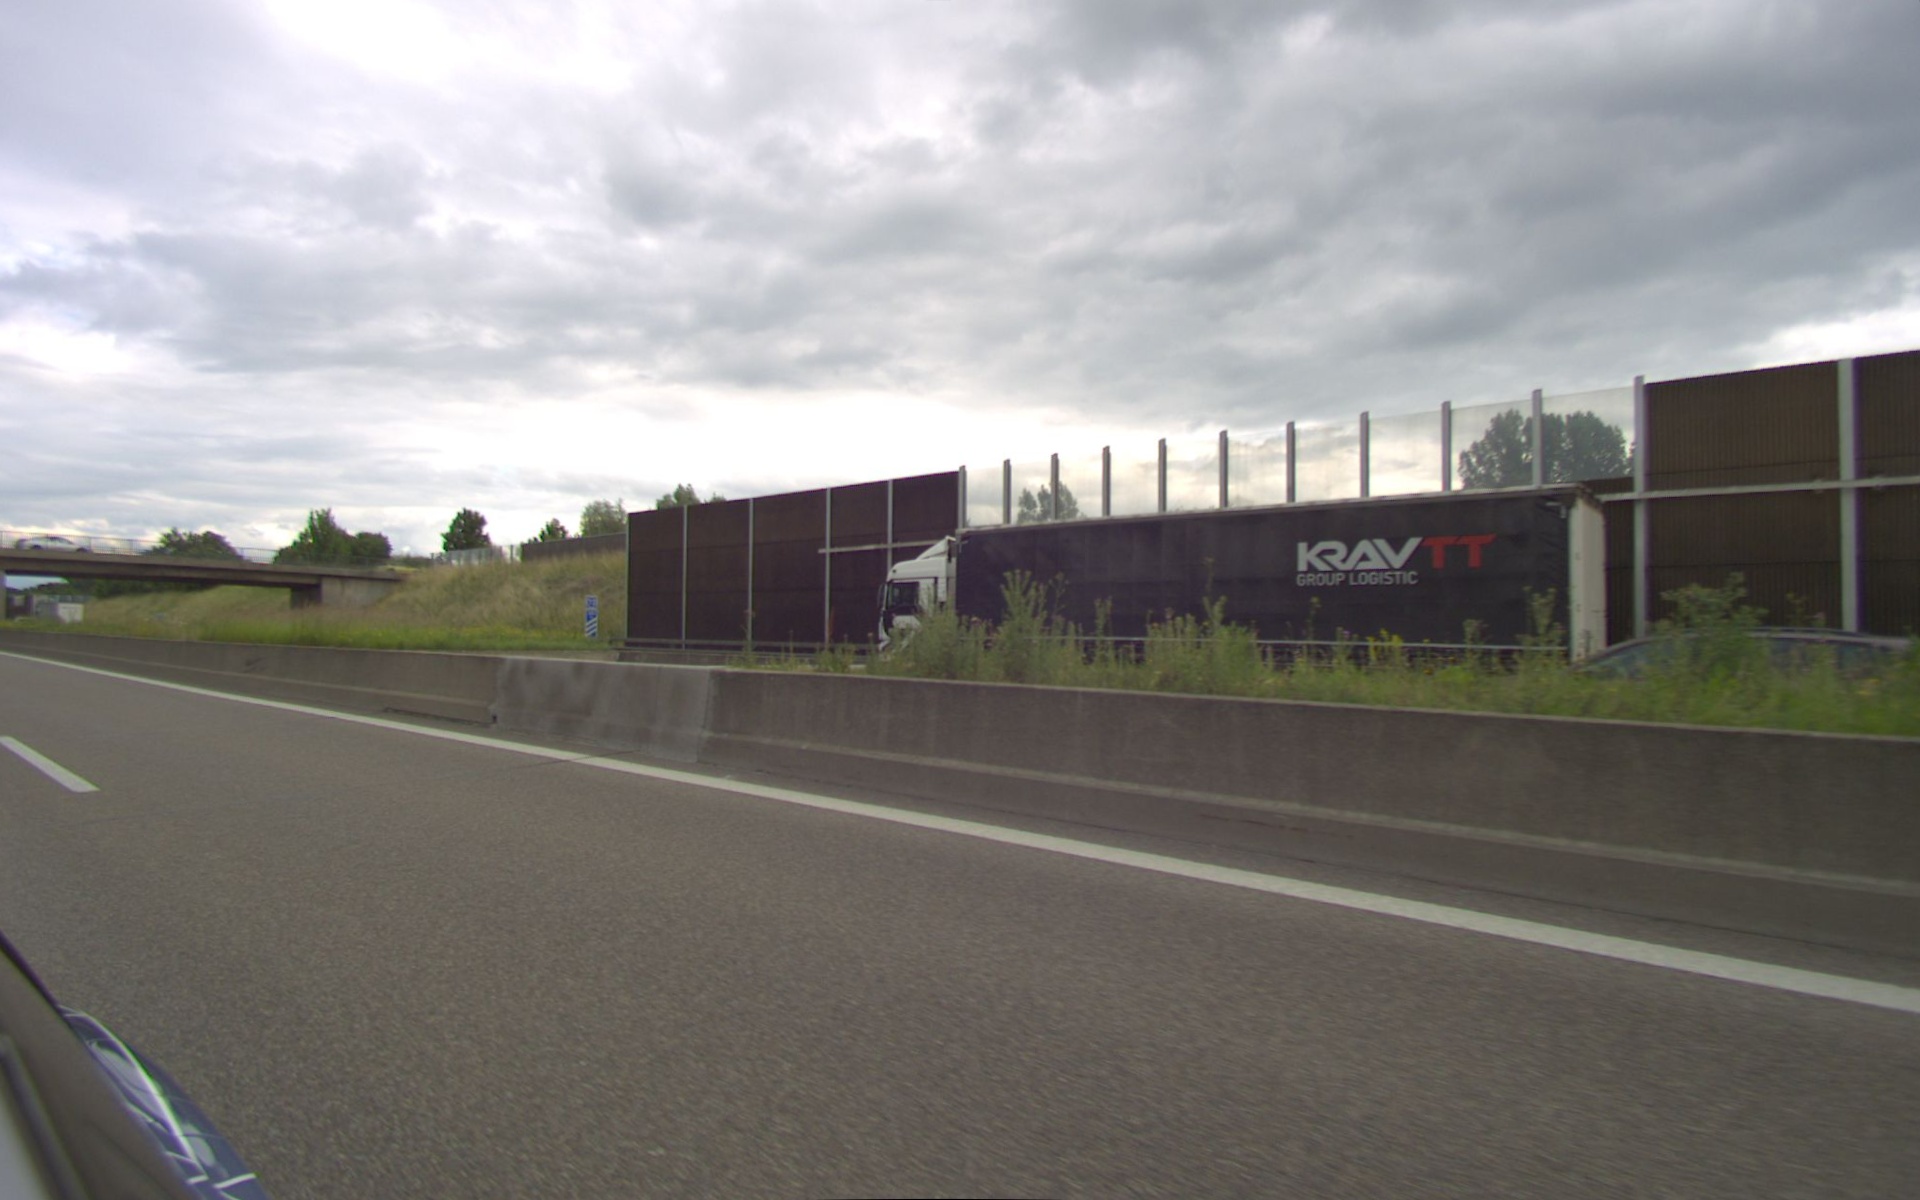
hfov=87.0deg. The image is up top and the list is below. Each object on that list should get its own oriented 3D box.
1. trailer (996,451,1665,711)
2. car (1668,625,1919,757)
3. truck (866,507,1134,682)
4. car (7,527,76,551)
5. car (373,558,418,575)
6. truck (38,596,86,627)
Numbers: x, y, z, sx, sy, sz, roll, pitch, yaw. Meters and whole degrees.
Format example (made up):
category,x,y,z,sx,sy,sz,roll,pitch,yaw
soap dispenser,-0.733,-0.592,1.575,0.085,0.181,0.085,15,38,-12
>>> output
category,x,y,z,sx,sy,sz,roll,pitch,yaw
trailer,6.816,-0.225,21.169,12.673,4.010,3.633,-1,0,42
car,11.278,1.014,11.673,4.937,1.374,1.973,-1,0,41
truck,0.952,-0.102,26.365,6.011,3.977,3.630,-1,0,41
car,-65.781,-4.353,72.491,1.654,1.458,3.308,-1,-1,29
car,-53.090,-3.125,95.195,1.654,1.458,3.306,-1,-1,30
truck,-112.696,1.503,126.877,13.003,3.712,2.966,-1,-1,42
